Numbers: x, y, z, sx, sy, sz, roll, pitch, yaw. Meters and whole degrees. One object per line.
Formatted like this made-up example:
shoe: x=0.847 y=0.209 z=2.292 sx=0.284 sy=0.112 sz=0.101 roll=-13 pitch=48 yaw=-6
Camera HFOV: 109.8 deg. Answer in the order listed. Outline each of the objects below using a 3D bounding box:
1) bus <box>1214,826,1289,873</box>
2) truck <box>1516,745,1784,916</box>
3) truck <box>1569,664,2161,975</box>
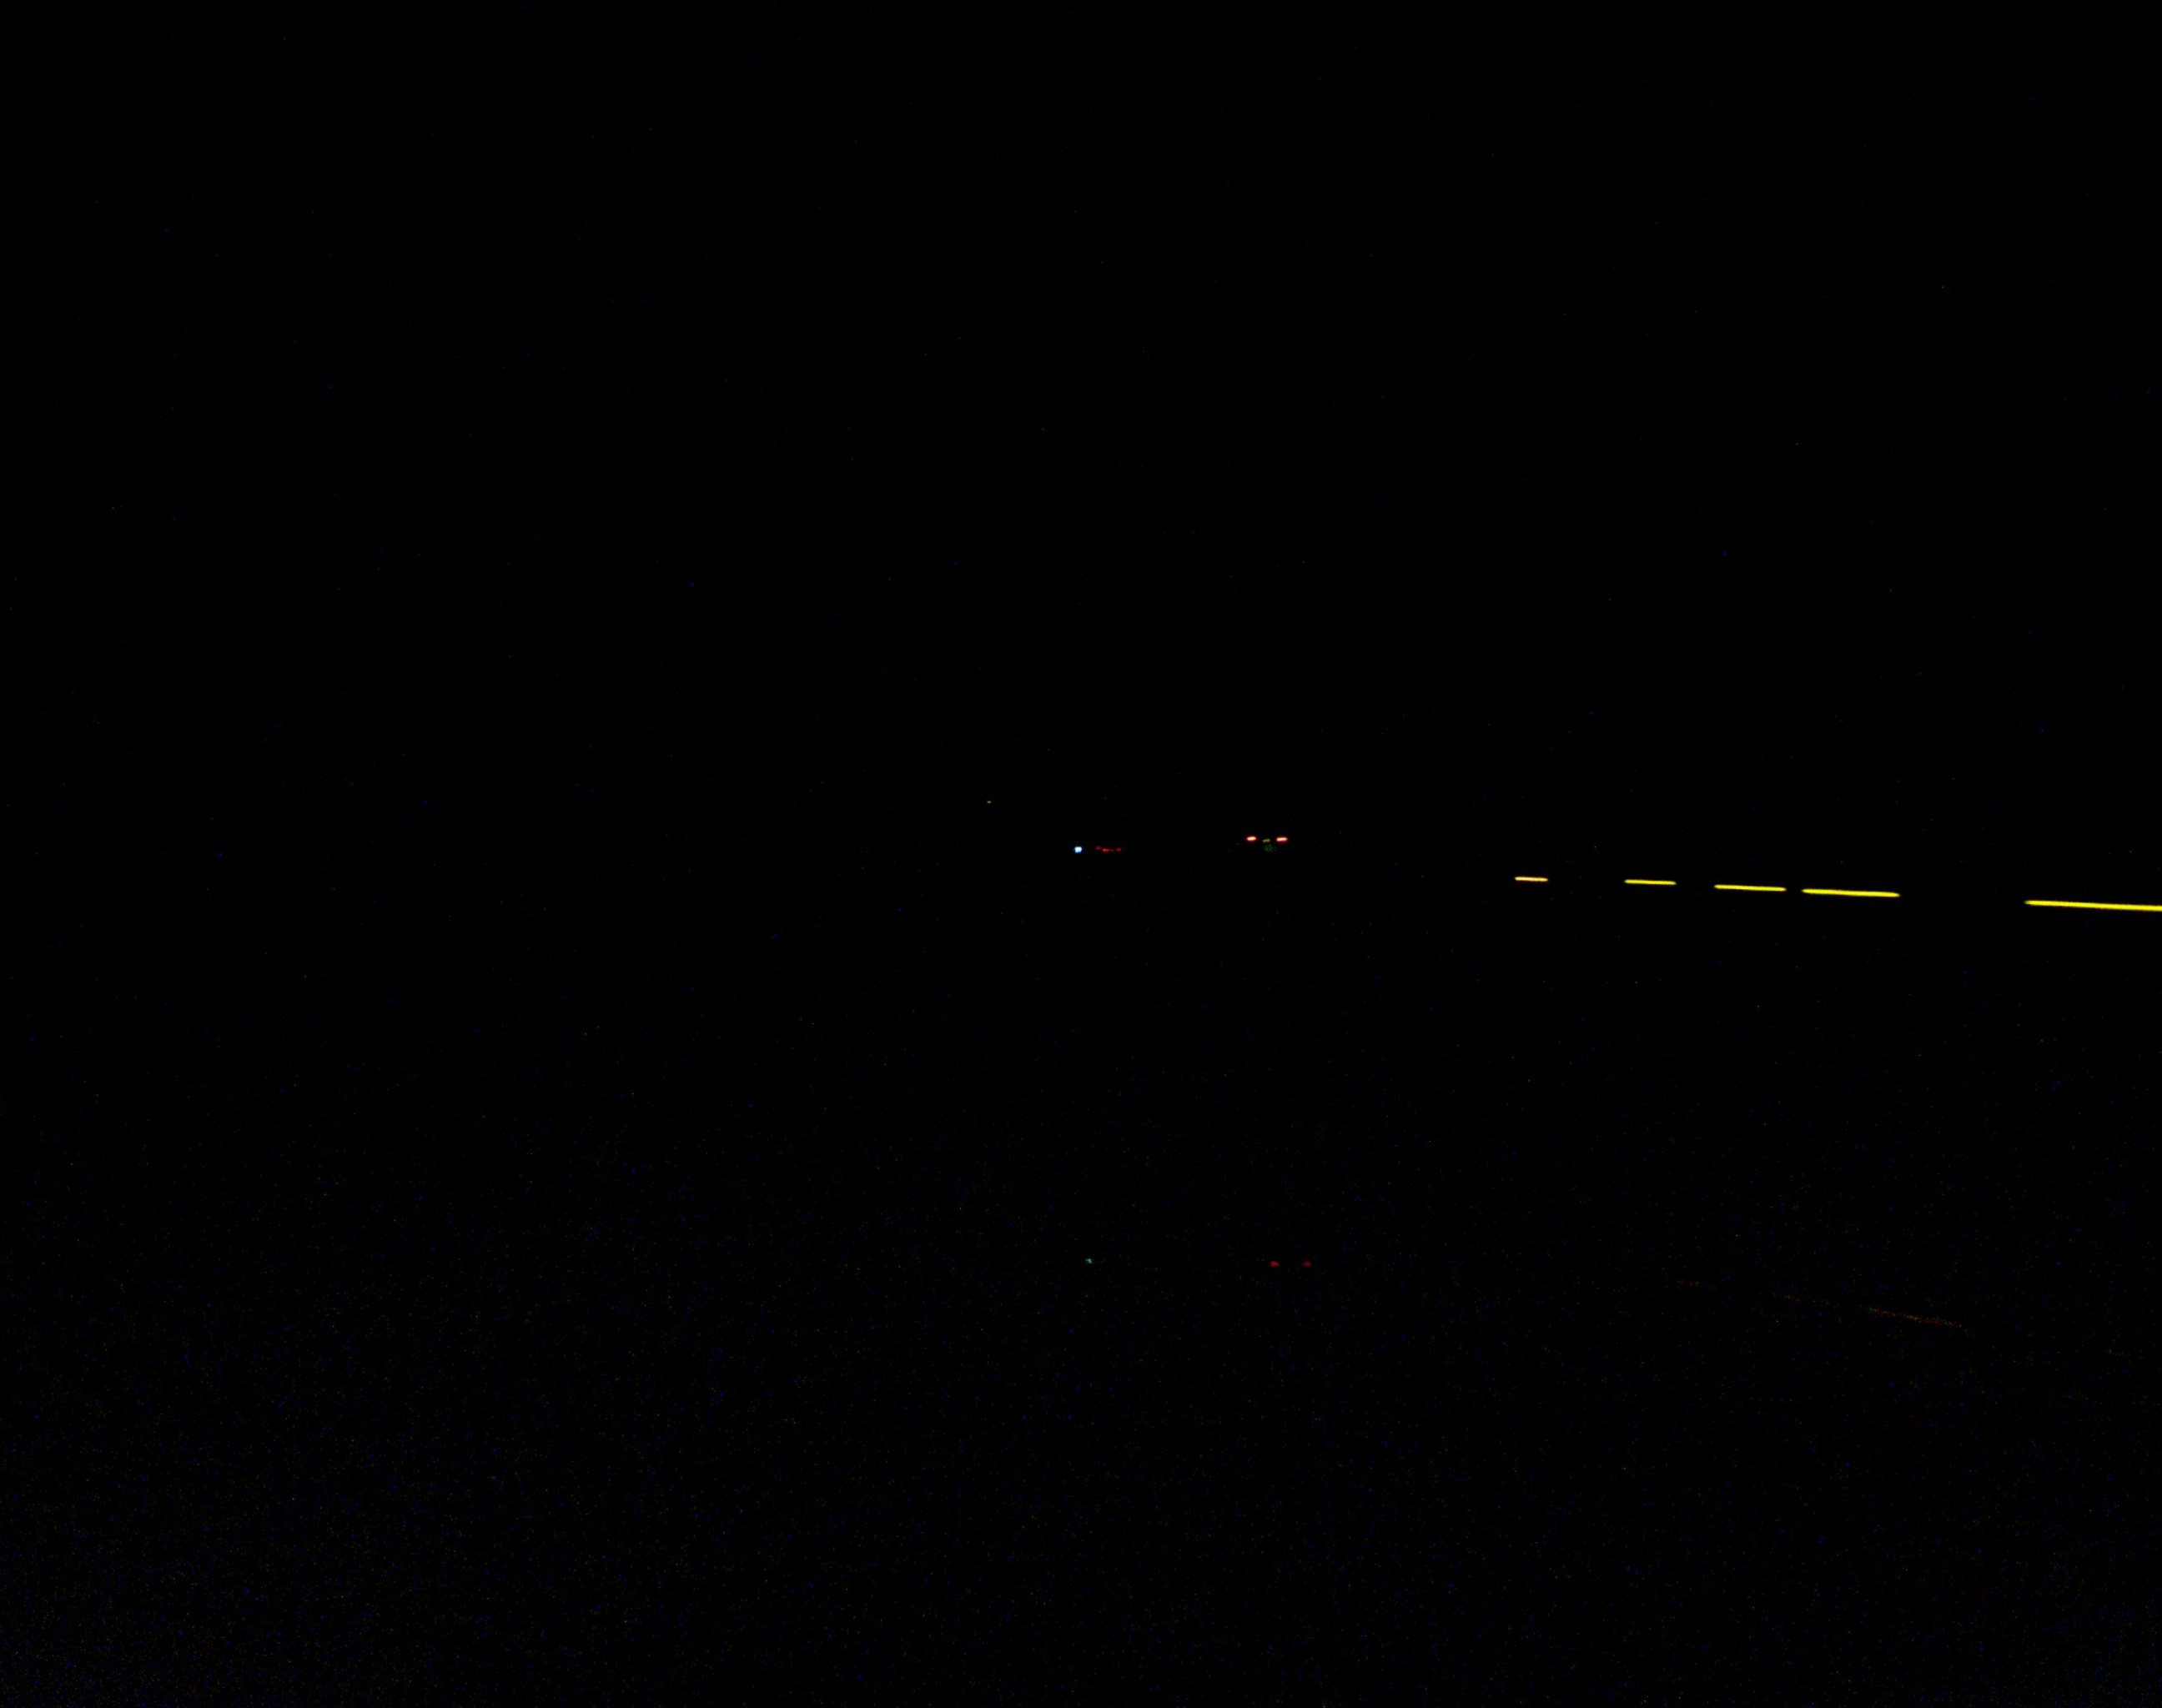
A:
bus: x=12.452 y=-0.379 z=56.901 sx=2.793 sy=3.092 sz=12.515 roll=-1 pitch=1 yaw=0
truck: x=15.800 y=-0.598 z=21.882 sx=2.780 sy=4.120 sz=6.673 roll=-1 pitch=1 yaw=1
truck: x=15.733 y=-0.526 z=15.542 sx=2.753 sy=4.103 sz=13.907 roll=-1 pitch=1 yaw=1
